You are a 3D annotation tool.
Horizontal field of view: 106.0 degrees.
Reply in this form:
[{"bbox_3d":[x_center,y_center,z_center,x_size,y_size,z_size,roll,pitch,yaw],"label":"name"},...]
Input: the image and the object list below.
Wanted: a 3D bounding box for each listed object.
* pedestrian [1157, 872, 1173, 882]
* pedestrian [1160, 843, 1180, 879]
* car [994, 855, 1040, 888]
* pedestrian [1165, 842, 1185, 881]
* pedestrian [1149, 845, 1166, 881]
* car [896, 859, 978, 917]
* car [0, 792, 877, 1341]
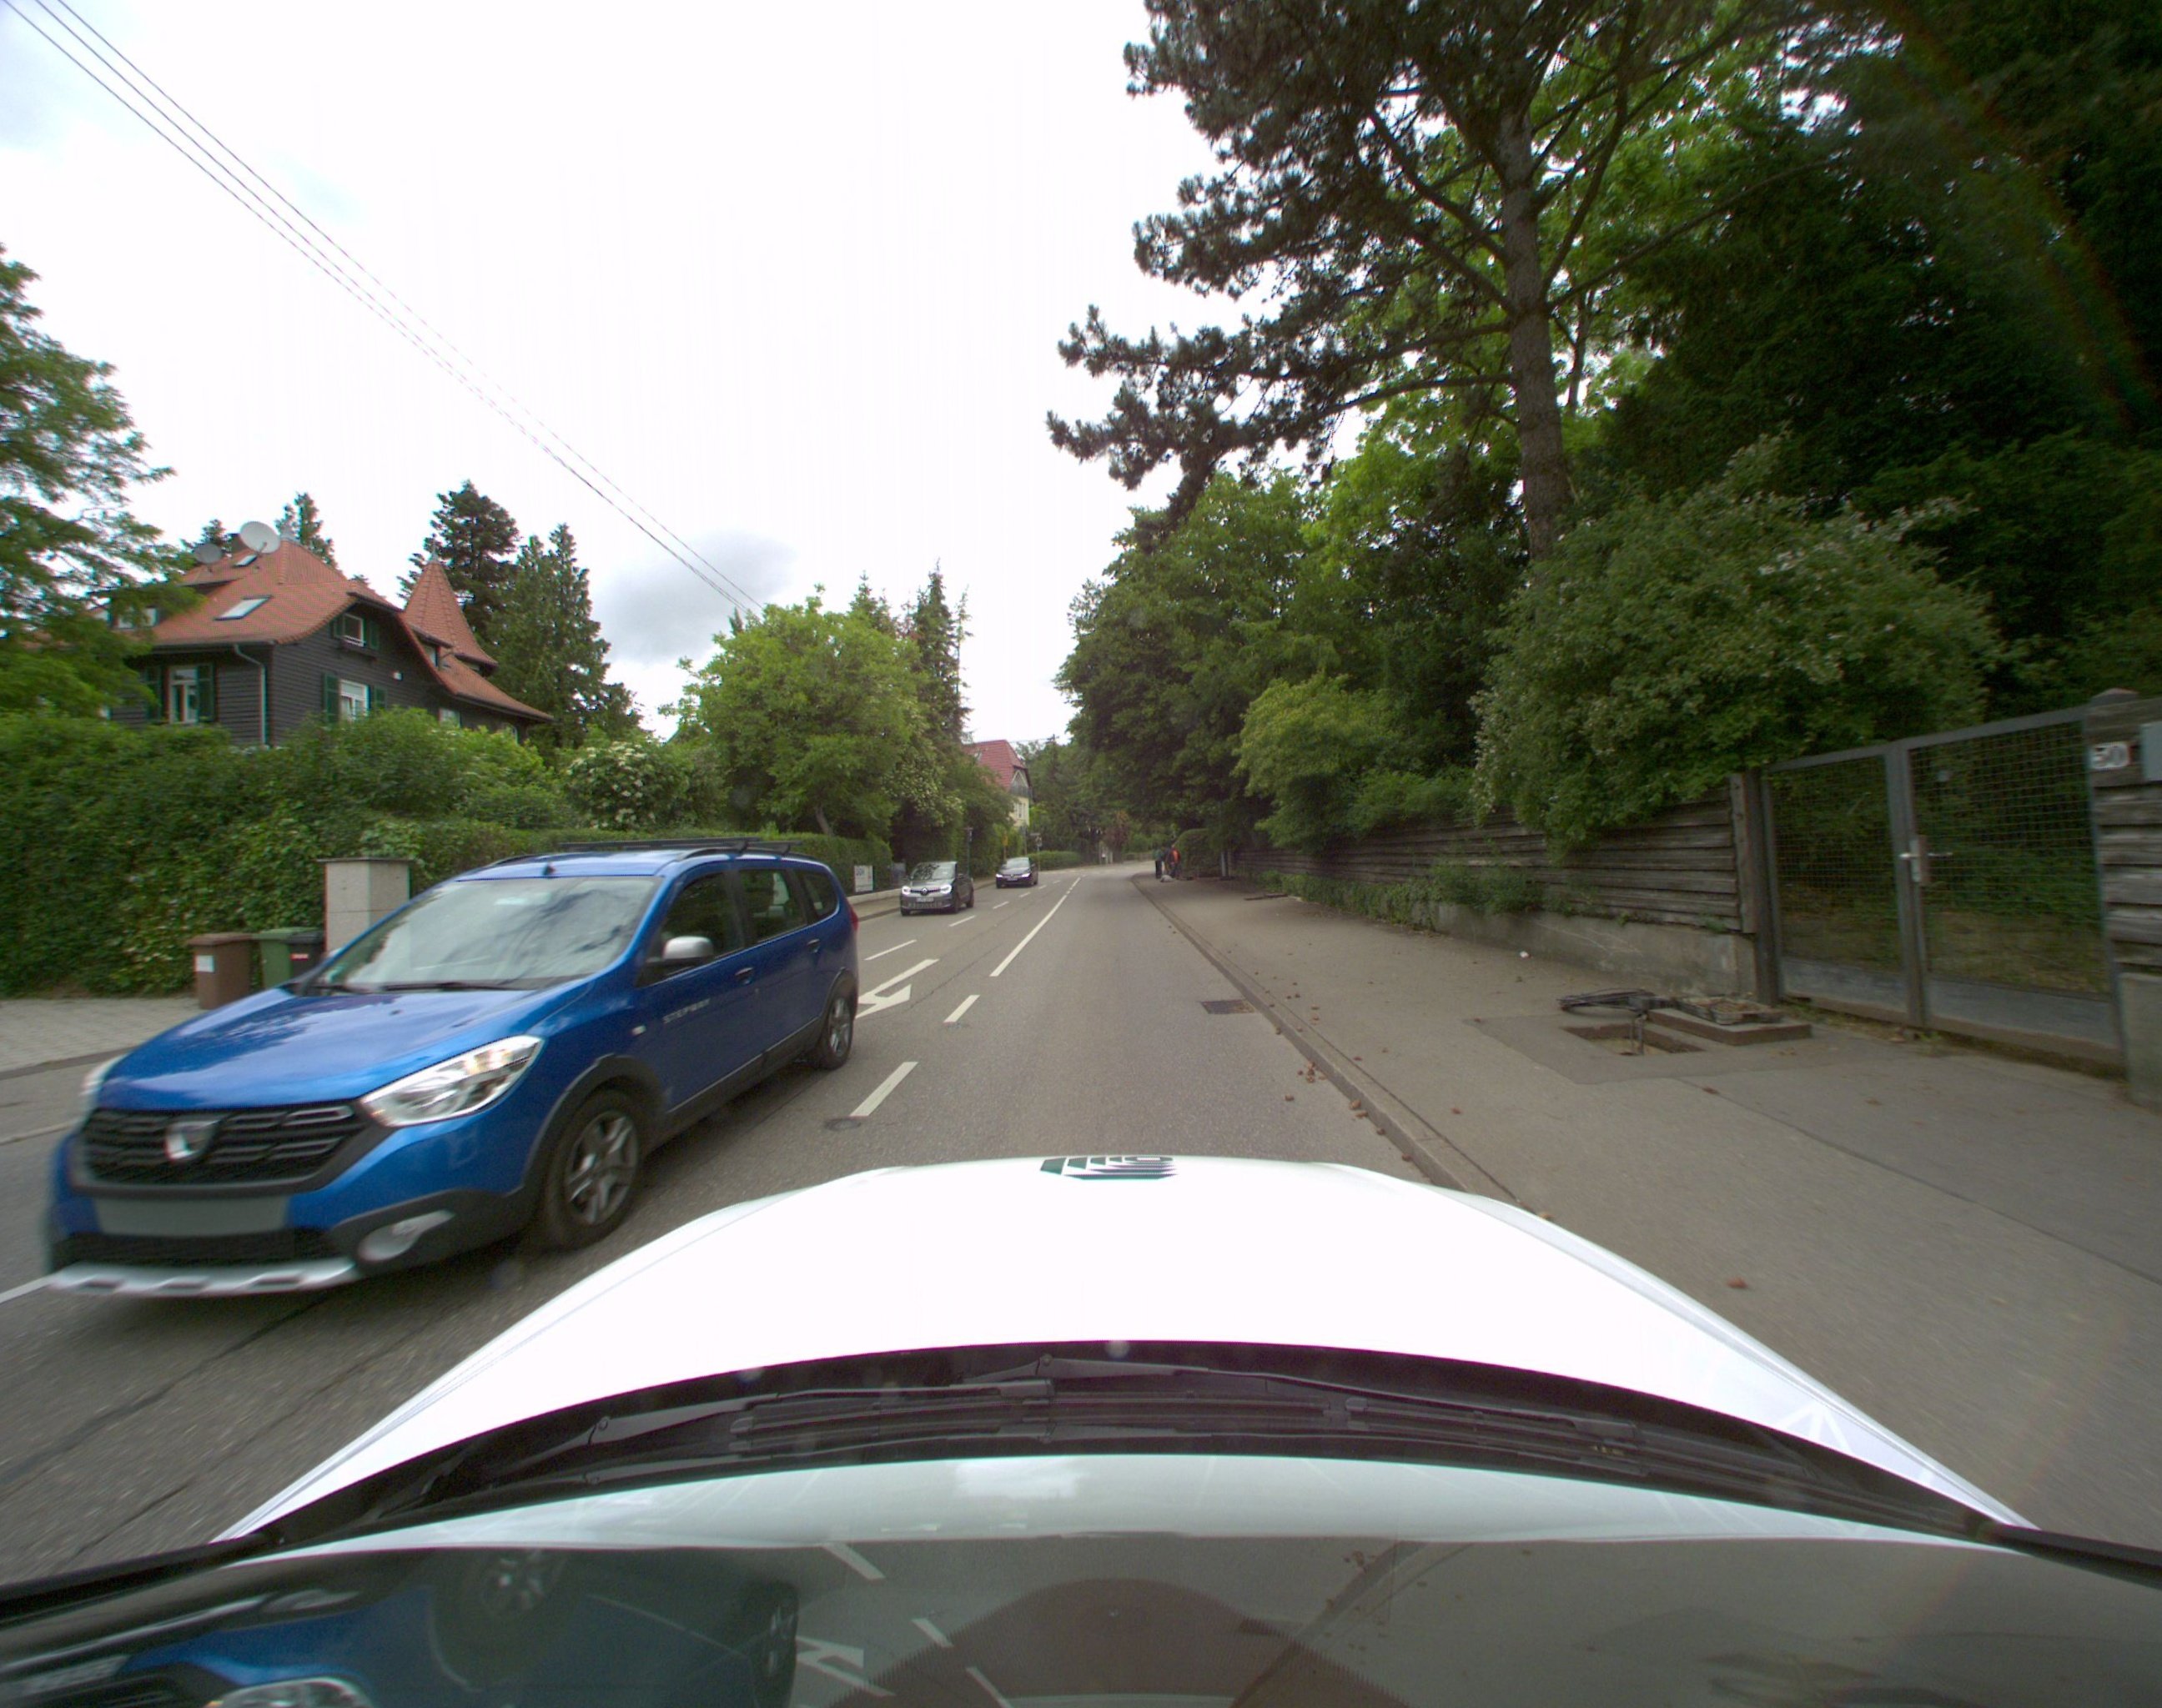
[{"bbox_3d":[3.955,1.089,38.448,0.670,0.393,0.741,-3,0,1],"label":"pedestrian"},{"bbox_3d":[4.591,0.341,41.898,0.694,1.807,0.665,-2,-1,-39],"label":"pedestrian"},{"bbox_3d":[-3.130,0.846,40.702,1.673,1.471,4.021,-3,0,3],"label":"car"},{"bbox_3d":[4.541,0.357,39.453,0.804,1.807,0.741,-3,0,1],"label":"pedestrian"},{"bbox_3d":[3.911,0.467,41.614,0.594,1.807,0.522,-3,-1,42],"label":"pedestrian"},{"bbox_3d":[-4.321,0.972,24.878,1.678,1.519,3.538,-3,0,2],"label":"car"},{"bbox_3d":[-2.797,0.698,4.814,1.798,1.717,4.382,-2,0,3],"label":"car"}]
